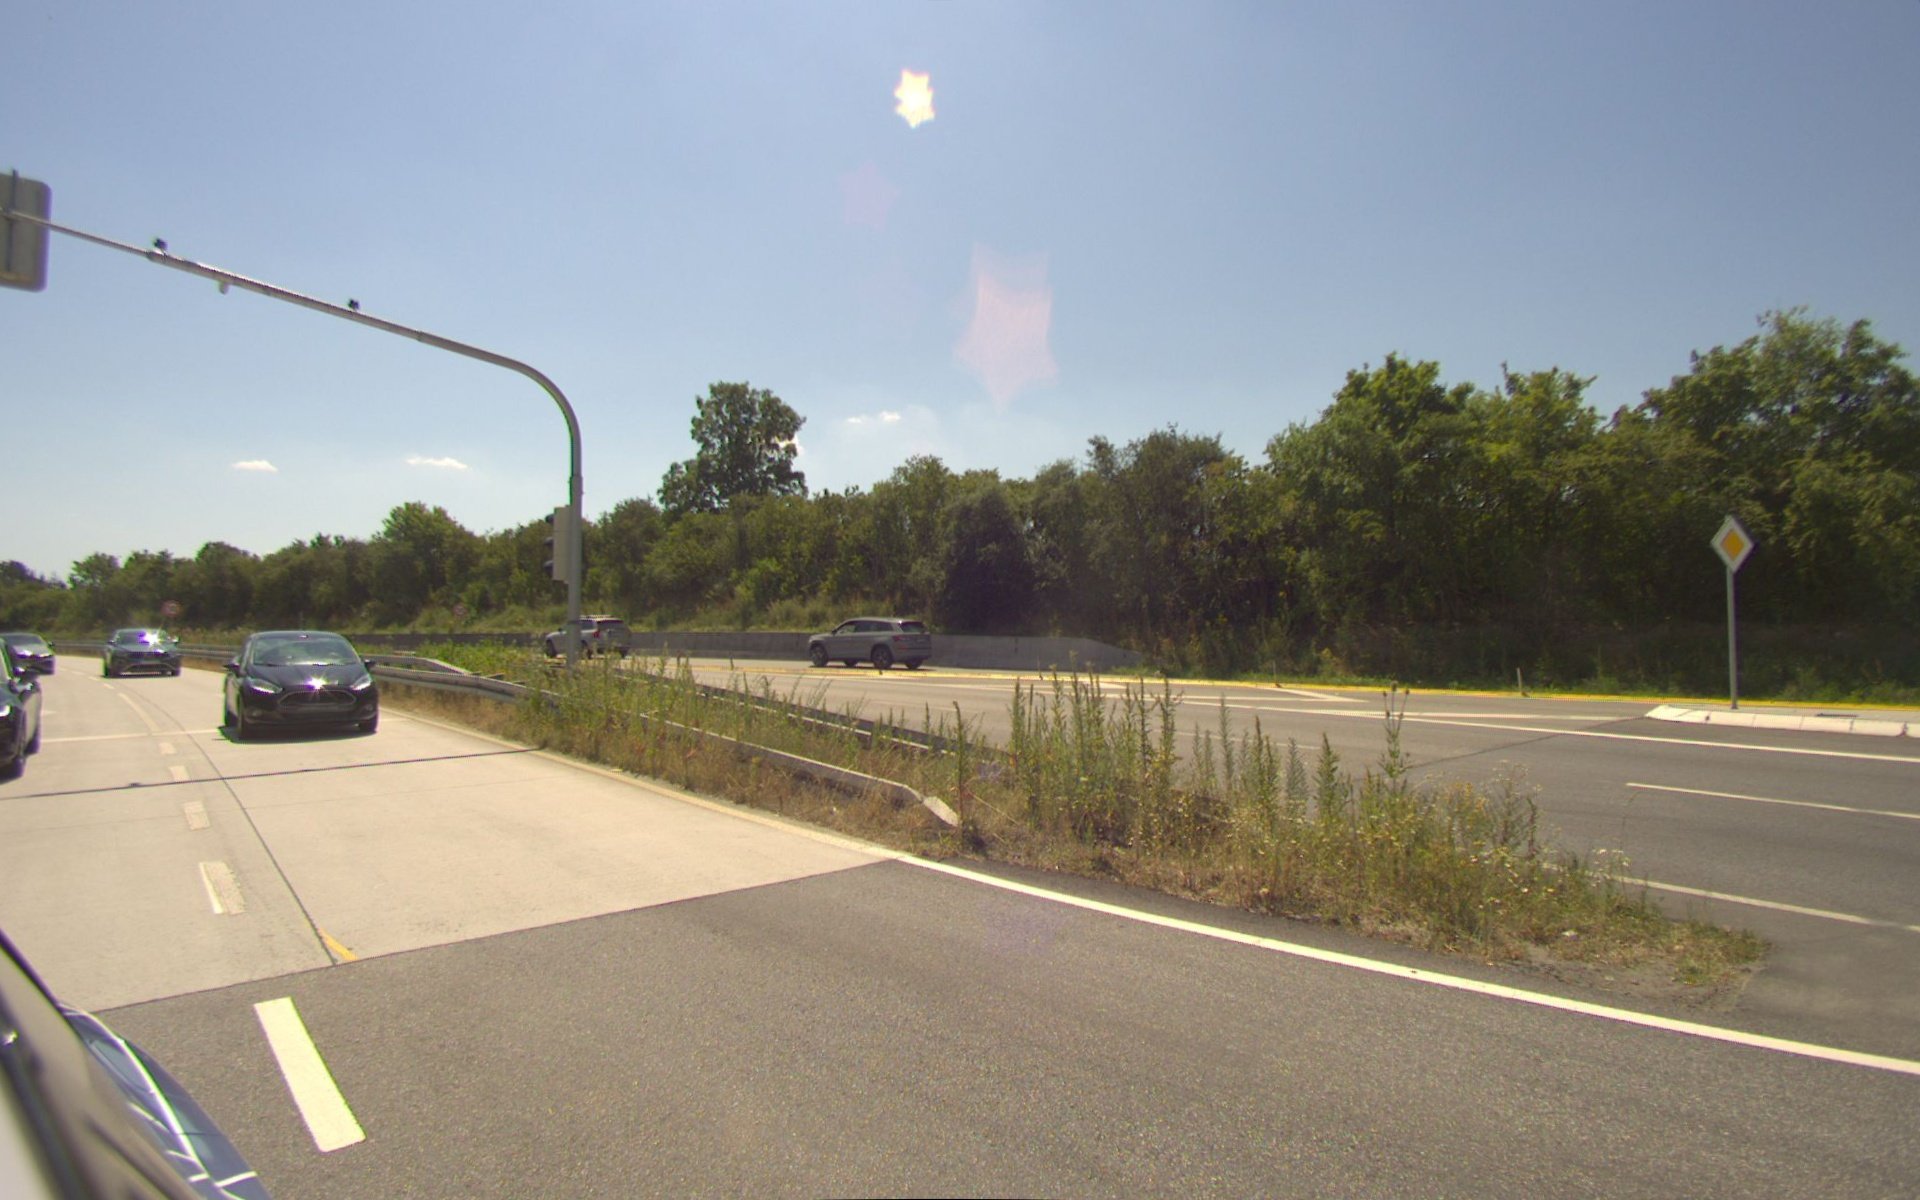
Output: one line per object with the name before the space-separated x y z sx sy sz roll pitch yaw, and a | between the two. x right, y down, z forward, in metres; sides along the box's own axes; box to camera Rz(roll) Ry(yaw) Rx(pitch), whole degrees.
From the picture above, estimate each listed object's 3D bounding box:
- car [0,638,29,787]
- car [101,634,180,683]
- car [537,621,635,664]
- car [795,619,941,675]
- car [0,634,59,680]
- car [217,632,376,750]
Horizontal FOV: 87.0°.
car | -11.256 1.146 10.813 1.705 1.450 4.310 1 -2 -40
car | -27.206 1.898 33.566 1.682 1.475 4.003 1 -2 -44
car | -16.293 1.806 43.922 4.856 1.786 1.972 -2 -2 42
car | -3.059 1.516 33.403 4.646 1.705 1.976 -1 -2 35
car | -33.214 1.974 35.643 4.000 1.475 1.865 -1 -2 43
car | -10.047 1.244 15.200 1.602 1.496 4.007 1 -2 -39
